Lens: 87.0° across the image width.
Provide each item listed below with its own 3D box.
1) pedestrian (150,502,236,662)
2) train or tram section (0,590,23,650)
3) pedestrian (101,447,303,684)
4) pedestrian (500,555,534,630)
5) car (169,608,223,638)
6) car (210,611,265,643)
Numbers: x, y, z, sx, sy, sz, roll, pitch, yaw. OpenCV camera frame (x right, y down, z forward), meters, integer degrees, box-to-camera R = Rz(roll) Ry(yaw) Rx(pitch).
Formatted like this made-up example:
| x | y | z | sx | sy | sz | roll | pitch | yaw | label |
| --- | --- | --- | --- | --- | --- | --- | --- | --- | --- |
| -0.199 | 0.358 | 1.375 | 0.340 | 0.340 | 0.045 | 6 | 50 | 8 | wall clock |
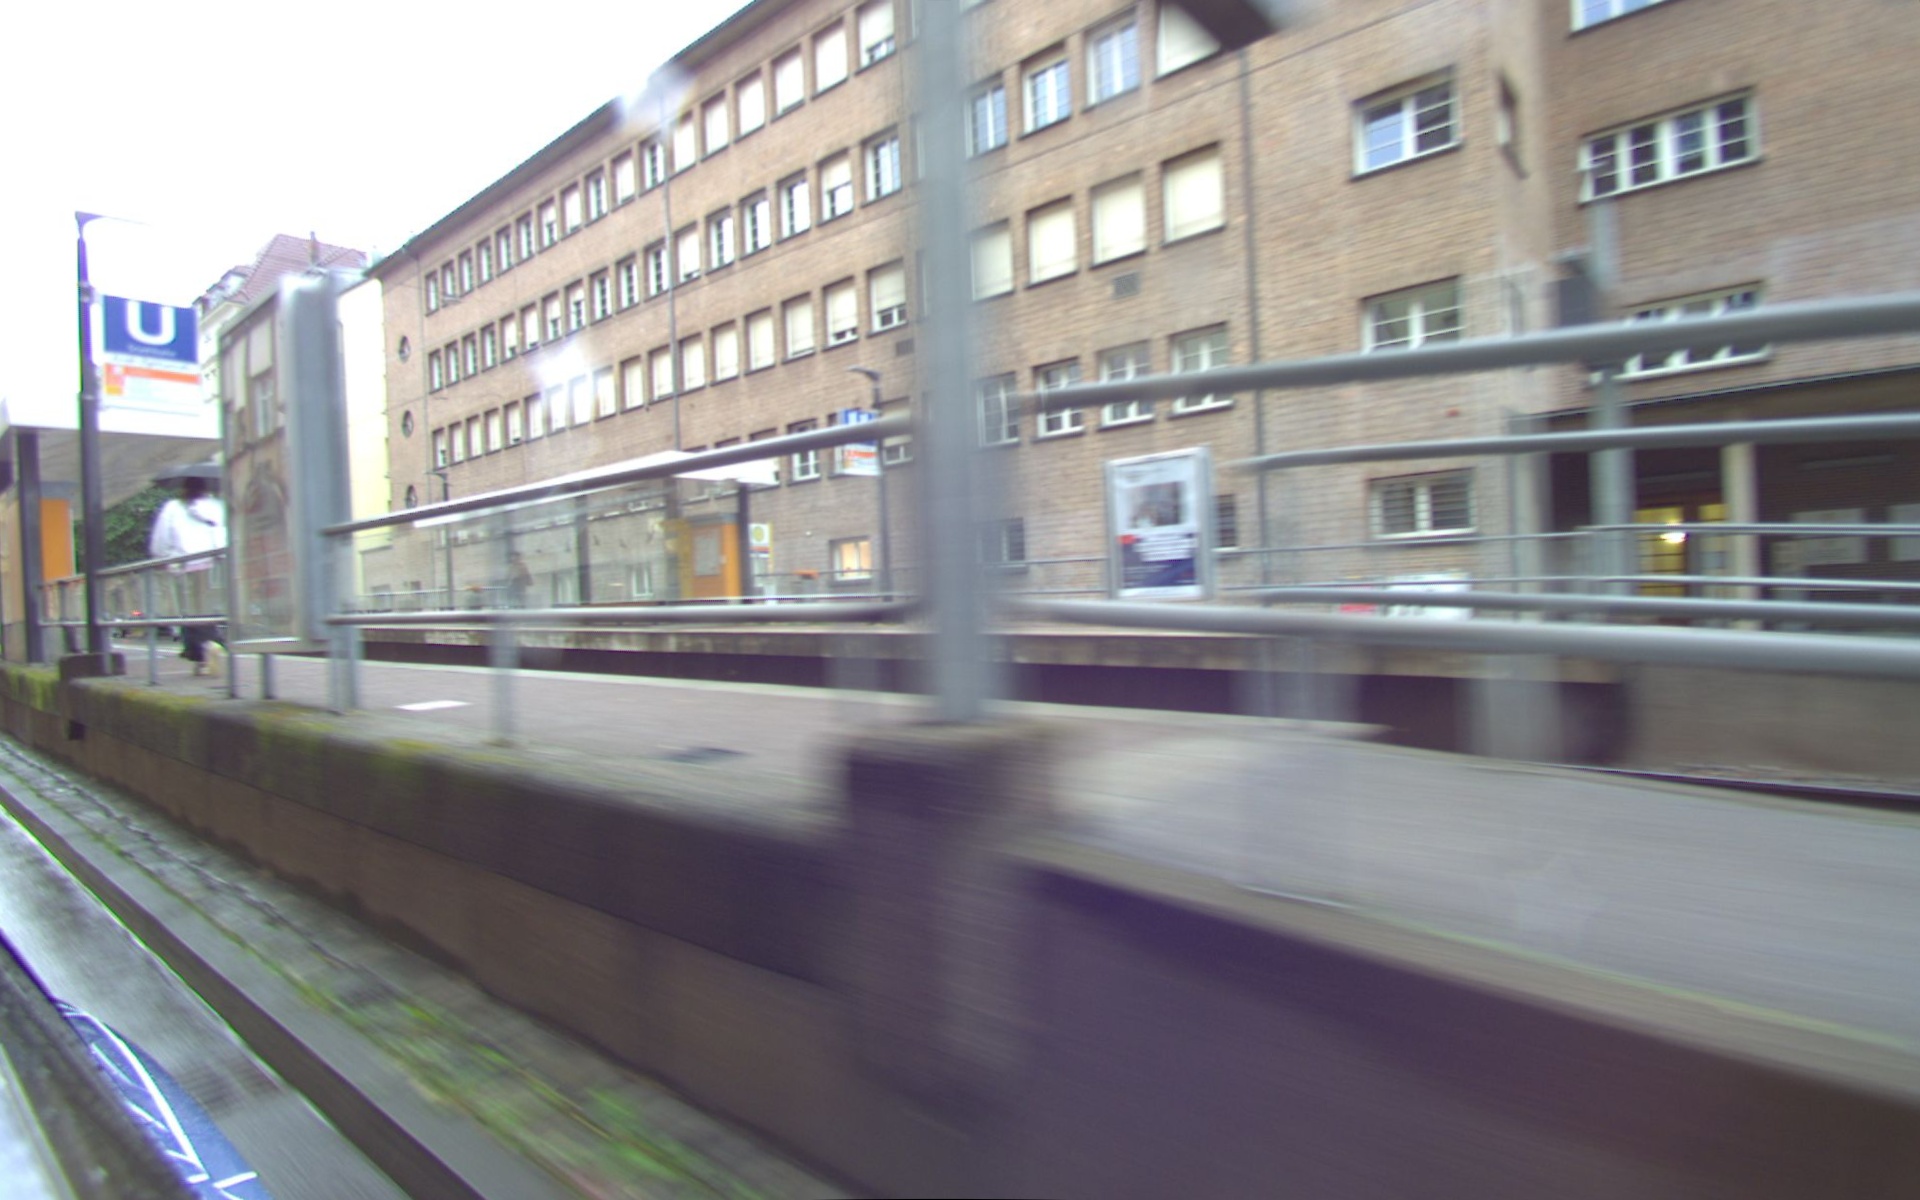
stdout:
| x | y | z | sx | sy | sz | roll | pitch | yaw | label |
| --- | --- | --- | --- | --- | --- | --- | --- | --- | --- |
| -8.925 | -0.204 | 11.777 | 0.710 | 1.788 | 0.637 | -1 | 0 | 41 | pedestrian |
| -70.460 | 1.459 | 72.471 | 19.851 | 3.950 | 2.687 | -1 | 0 | 41 | train or tram section |
| -6.296 | -0.262 | 8.416 | 1.111 | 1.788 | 1.102 | -1 | 0 | 41 | pedestrian |
| -10.314 | -0.156 | 23.570 | 0.491 | 1.722 | 0.581 | -2 | -2 | 40 | pedestrian |
| -42.149 | 1.261 | 55.818 | 4.338 | 1.593 | 1.627 | -1 | 0 | 43 | car |
| -35.760 | 1.330 | 50.061 | 3.111 | 1.477 | 1.627 | -1 | 0 | 43 | car |
